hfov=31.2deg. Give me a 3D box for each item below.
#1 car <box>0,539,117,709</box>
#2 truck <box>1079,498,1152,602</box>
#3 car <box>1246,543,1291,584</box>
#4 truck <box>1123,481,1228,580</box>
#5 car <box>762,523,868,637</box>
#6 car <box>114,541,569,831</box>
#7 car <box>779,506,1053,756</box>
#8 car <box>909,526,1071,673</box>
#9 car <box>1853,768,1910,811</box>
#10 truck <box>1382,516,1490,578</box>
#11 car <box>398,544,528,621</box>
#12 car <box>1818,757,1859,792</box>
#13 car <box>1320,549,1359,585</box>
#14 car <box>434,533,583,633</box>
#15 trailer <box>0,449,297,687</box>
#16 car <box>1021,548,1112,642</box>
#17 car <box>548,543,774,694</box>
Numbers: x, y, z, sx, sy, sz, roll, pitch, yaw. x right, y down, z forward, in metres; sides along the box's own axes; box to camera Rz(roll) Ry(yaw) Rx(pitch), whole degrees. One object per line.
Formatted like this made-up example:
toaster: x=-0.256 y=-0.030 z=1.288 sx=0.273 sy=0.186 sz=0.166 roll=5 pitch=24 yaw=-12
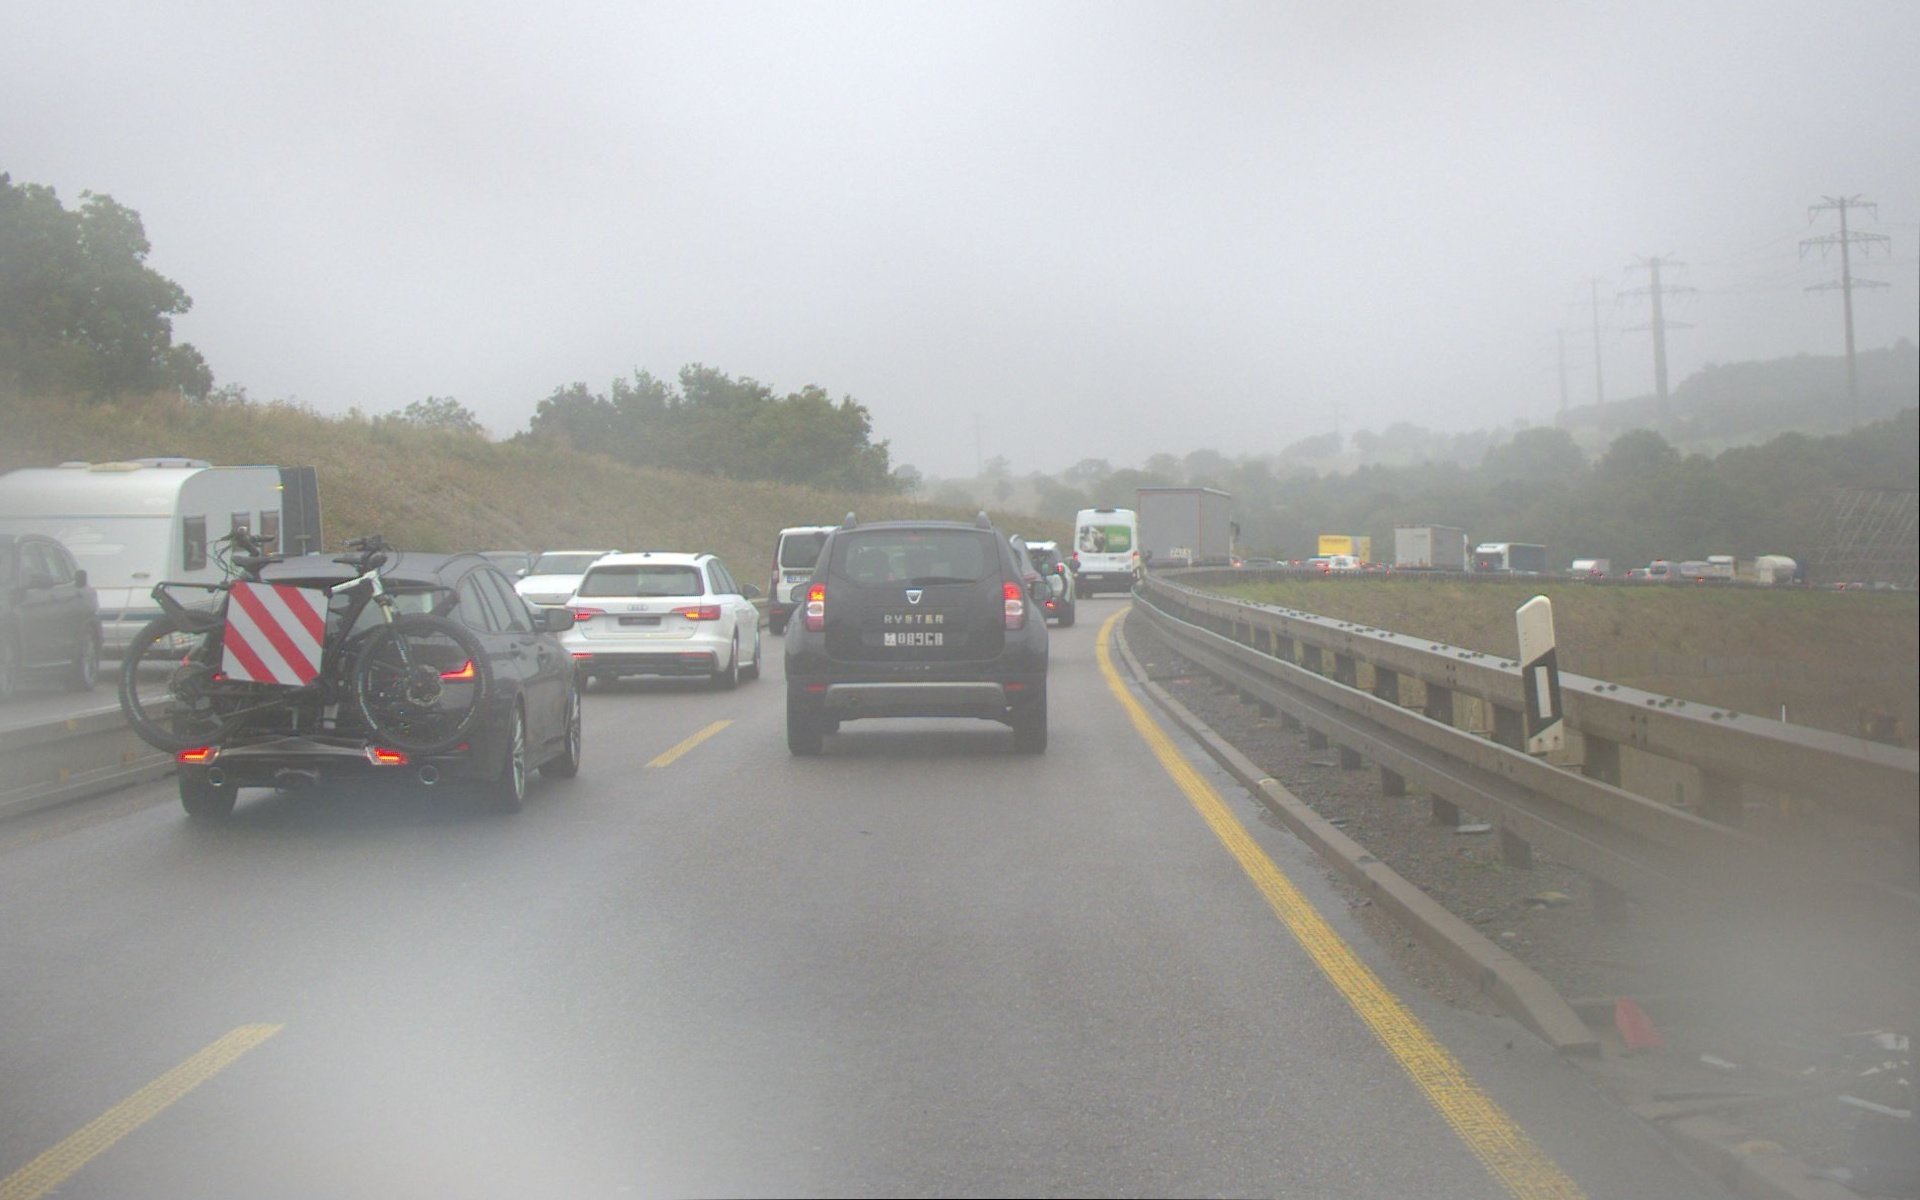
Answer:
car: x=-10.101 y=0.185 z=34.604 sx=1.993 sy=1.581 sz=5.119 roll=1 pitch=1 yaw=0
truck: x=4.874 y=-1.580 z=108.519 sx=2.149 sy=3.155 sz=6.459 roll=1 pitch=1 yaw=2
car: x=14.817 y=-1.765 z=164.911 sx=1.776 sy=1.909 sz=3.998 roll=1 pitch=1 yaw=10
truck: x=8.567 y=-2.703 z=135.658 sx=3.202 sy=3.748 sz=8.506 roll=1 pitch=1 yaw=10
car: x=-2.473 y=-0.363 z=59.378 sx=1.660 sy=1.873 sz=4.020 roll=1 pitch=1 yaw=0
car: x=-3.369 y=0.422 z=19.412 sx=1.829 sy=1.471 sz=3.776 roll=0 pitch=1 yaw=1
car: x=-0.252 y=0.187 z=24.606 sx=1.804 sy=1.640 sz=3.776 roll=0 pitch=1 yaw=1
car: x=0.338 y=-0.035 z=42.113 sx=1.867 sy=1.703 sz=4.000 roll=1 pitch=1 yaw=0
car: x=49.715 y=10.198 z=185.540 sx=2.366 sy=2.007 sz=3.999 roll=1 pitch=1 yaw=7
truck: x=33.290 y=-3.668 z=239.498 sx=4.721 sy=4.135 sz=15.669 roll=1 pitch=1 yaw=18
car: x=-9.612 y=-0.368 z=66.794 sx=1.768 sy=1.438 sz=4.671 roll=0 pitch=1 yaw=1
car: x=51.630 y=10.259 z=202.092 sx=1.994 sy=1.809 sz=3.998 roll=0 pitch=0 yaw=9
car: x=20.514 y=-1.771 z=185.752 sx=1.776 sy=1.909 sz=3.998 roll=1 pitch=1 yaw=10
car: x=-7.515 y=-0.312 z=57.581 sx=1.877 sy=1.495 sz=4.335 roll=1 pitch=2 yaw=0
trailer: x=-9.849 y=-0.424 z=40.739 sx=2.510 sy=2.556 sz=7.163 roll=1 pitch=1 yaw=1
car: x=1.913 y=-0.116 z=62.722 sx=1.530 sy=1.635 sz=4.013 roll=1 pitch=1 yaw=0
car: x=-3.068 y=0.147 z=36.137 sx=1.867 sy=1.455 sz=4.548 roll=1 pitch=1 yaw=1
